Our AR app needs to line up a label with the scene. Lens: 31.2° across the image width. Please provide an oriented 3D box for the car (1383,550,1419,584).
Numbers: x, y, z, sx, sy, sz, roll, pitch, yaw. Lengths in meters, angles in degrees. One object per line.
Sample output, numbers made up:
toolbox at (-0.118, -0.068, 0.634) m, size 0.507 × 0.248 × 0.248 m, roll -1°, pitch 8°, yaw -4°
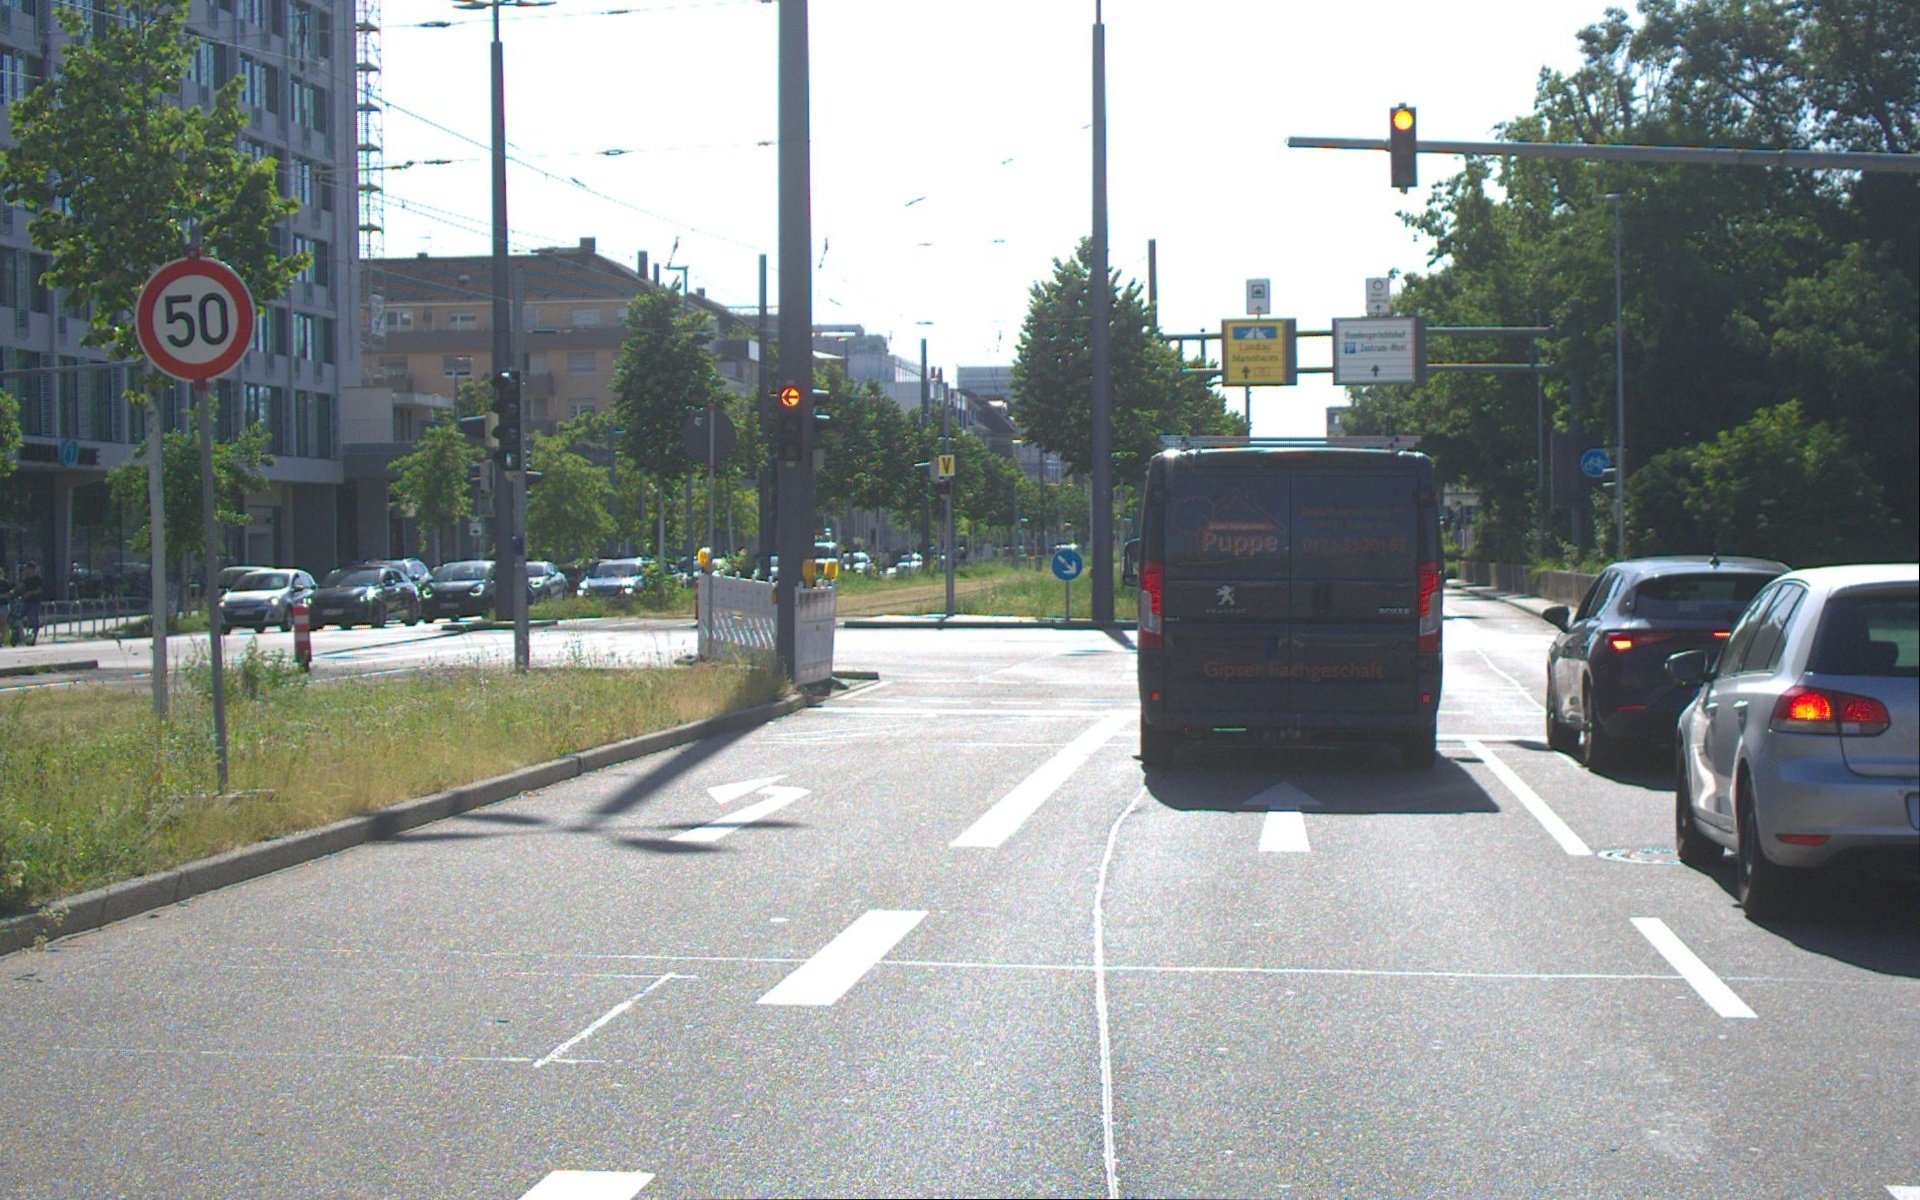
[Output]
car at (24.838, -1.882, 193.878) m, size 1.792 × 1.867 × 3.849 m, roll 1°, pitch 1°, yaw 5°

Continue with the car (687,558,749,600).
car at (-9.846, -0.853, 140.219) m, size 1.791 × 1.645 × 3.999 m, roll -1°, pitch 1°, yaw 7°

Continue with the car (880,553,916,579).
car at (-3.967, -2.167, 219.616) m, size 1.791 × 1.645 × 3.999 m, roll -1°, pitch 1°, yaw 7°

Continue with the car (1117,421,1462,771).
car at (2.350, -0.090, 24.813) m, size 2.218 × 2.259 × 4.483 m, roll 1°, pitch 2°, yaw 5°

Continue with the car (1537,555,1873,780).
car at (5.156, 0.413, 24.234) m, size 1.792 × 1.423 × 3.849 m, roll 1°, pitch 1°, yaw 5°

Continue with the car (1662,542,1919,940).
car at (4.191, 0.519, 15.257) m, size 1.750 × 1.522 × 4.004 m, roll 1°, pitch 1°, yaw 7°

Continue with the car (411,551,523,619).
car at (-12.399, -0.389, 86.671) m, size 1.791 × 1.645 × 3.999 m, roll -1°, pitch 1°, yaw 7°

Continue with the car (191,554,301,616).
car at (-19.834, -0.433, 95.656) m, size 1.791 × 1.645 × 3.999 m, roll -1°, pitch 1°, yaw 7°

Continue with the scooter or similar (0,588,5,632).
scooter or similar at (-20.862, 0.224, 74.240) m, size 0.285 × 0.944 × 0.767 m, roll -1°, pitch 1°, yaw -1°

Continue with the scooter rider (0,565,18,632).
scooter rider at (-20.540, -0.029, 74.135) m, size 0.342 × 1.448 × 0.239 m, roll -1°, pitch 1°, yaw 7°

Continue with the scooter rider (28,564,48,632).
scooter rider at (-19.788, -0.046, 73.790) m, size 0.342 × 1.448 × 0.239 m, roll -1°, pitch 1°, yaw 7°

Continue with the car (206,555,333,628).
car at (-16.301, -0.225, 81.313) m, size 1.791 × 1.645 × 3.999 m, roll -1°, pitch 1°, yaw 7°

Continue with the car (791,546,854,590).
car at (-5.293, -1.231, 132.695) m, size 1.791 × 1.645 × 3.999 m, roll -1°, pitch 1°, yaw 7°

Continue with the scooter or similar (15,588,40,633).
scooter or similar at (-19.985, 0.225, 73.680) m, size 0.228 × 0.944 × 0.767 m, roll -1°, pitch 1°, yaw 7°

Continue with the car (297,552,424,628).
car at (-13.694, -0.249, 78.762) m, size 1.791 × 1.645 × 3.999 m, roll -1°, pitch 1°, yaw 7°
